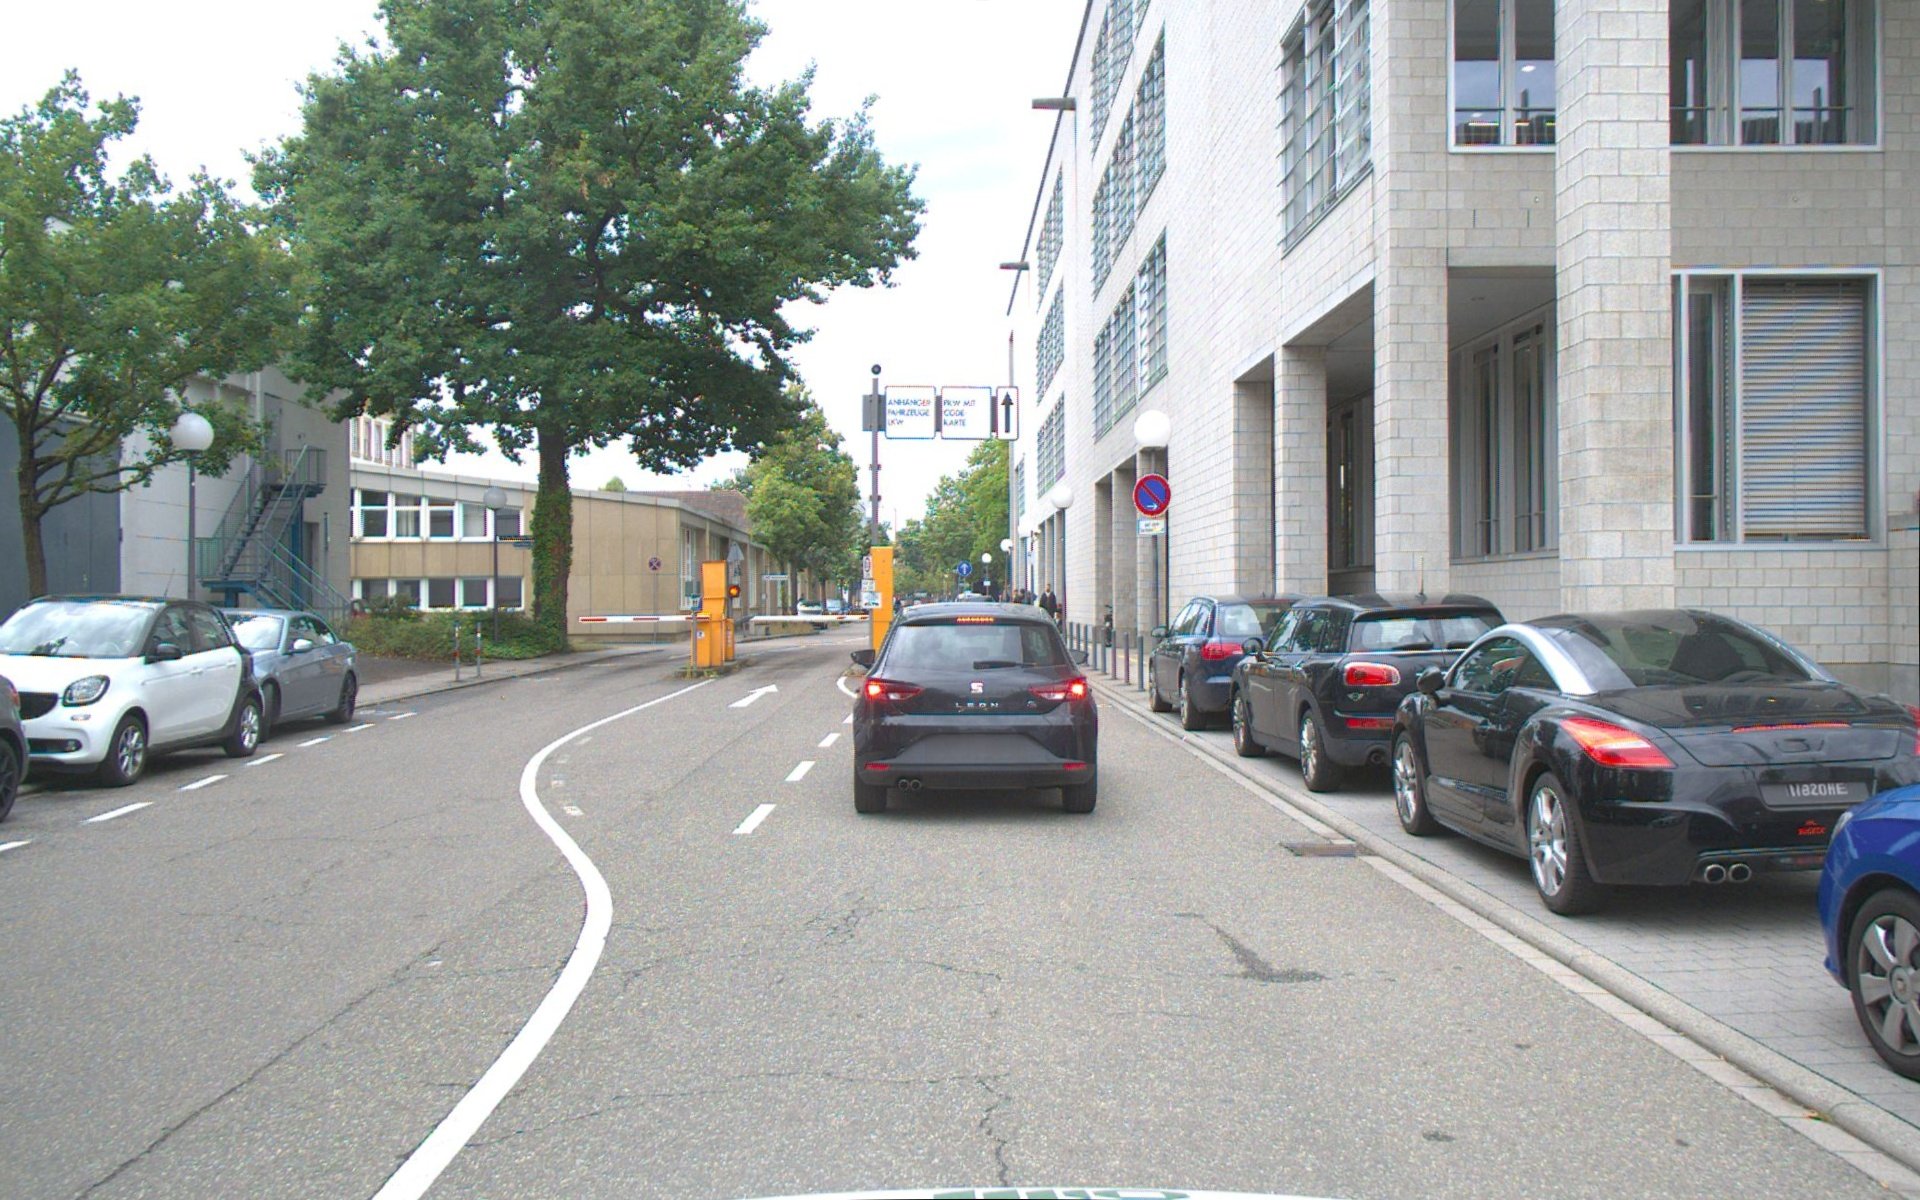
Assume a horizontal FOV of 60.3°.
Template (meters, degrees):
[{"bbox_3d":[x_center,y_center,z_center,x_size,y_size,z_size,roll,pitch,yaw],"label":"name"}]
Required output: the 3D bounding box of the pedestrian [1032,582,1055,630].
[{"bbox_3d":[3.069,0.218,60.863,0.714,1.728,0.587,0,2,-6],"label":"pedestrian"}]

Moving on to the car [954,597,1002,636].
[{"bbox_3d":[0.790,0.727,74.396,1.953,1.651,4.426,-1,-1,-2],"label":"car"}]

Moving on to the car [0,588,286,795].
[{"bbox_3d":[-7.676,0.707,14.949,1.681,1.613,3.876,0,1,-2],"label":"car"}]

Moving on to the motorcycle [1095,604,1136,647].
[{"bbox_3d":[4.611,0.739,48.953,0.554,1.168,2.216,1,2,23],"label":"motorcycle"}]

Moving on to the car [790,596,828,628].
[{"bbox_3d":[-7.845,0.592,86.219,1.734,1.629,3.998,0,0,-2],"label":"car"}]

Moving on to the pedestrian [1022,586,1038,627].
[{"bbox_3d":[3.018,0.288,71.137,0.682,1.744,0.489,0,0,3],"label":"pedestrian"}]

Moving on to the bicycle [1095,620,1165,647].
[{"bbox_3d":[4.705,0.926,45.840,1.859,0.711,0.492,1,2,-5],"label":"bicycle"}]

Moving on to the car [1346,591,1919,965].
[{"bbox_3d":[3.551,0.738,9.163,1.810,1.467,4.419,0,1,0],"label":"car"}]

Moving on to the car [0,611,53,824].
[{"bbox_3d":[-7.354,0.822,9.935,1.728,1.436,4.007,0,0,-2],"label":"car"}]

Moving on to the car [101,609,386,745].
[{"bbox_3d":[-8.372,0.834,19.753,1.782,1.413,4.191,0,0,-3],"label":"car"}]

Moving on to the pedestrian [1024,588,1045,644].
[{"bbox_3d":[2.353,0.492,52.272,0.598,1.744,0.575,-1,0,3],"label":"pedestrian"}]

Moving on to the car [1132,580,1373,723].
[{"bbox_3d":[3.340,0.554,19.887,1.953,1.477,4.921,-1,0,-1],"label":"car"}]

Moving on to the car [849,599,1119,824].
[{"bbox_3d":[0.104,0.720,12.782,1.746,1.444,4.128,0,0,-2],"label":"car"}]

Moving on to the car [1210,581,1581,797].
[{"bbox_3d":[3.452,0.630,14.052,1.781,1.468,4.518,-2,0,-2],"label":"car"}]

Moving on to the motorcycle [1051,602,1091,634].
[{"bbox_3d":[4.425,0.702,65.602,0.744,1.168,2.662,1,2,23],"label":"motorcycle"}]

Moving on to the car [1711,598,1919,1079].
[{"bbox_3d":[3.769,0.694,3.988,1.662,1.436,4.373,-1,0,-4],"label":"car"}]

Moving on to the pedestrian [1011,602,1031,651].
[{"bbox_3d":[2.206,0.936,59.507,0.675,1.728,0.588,1,2,2],"label":"pedestrian"}]
